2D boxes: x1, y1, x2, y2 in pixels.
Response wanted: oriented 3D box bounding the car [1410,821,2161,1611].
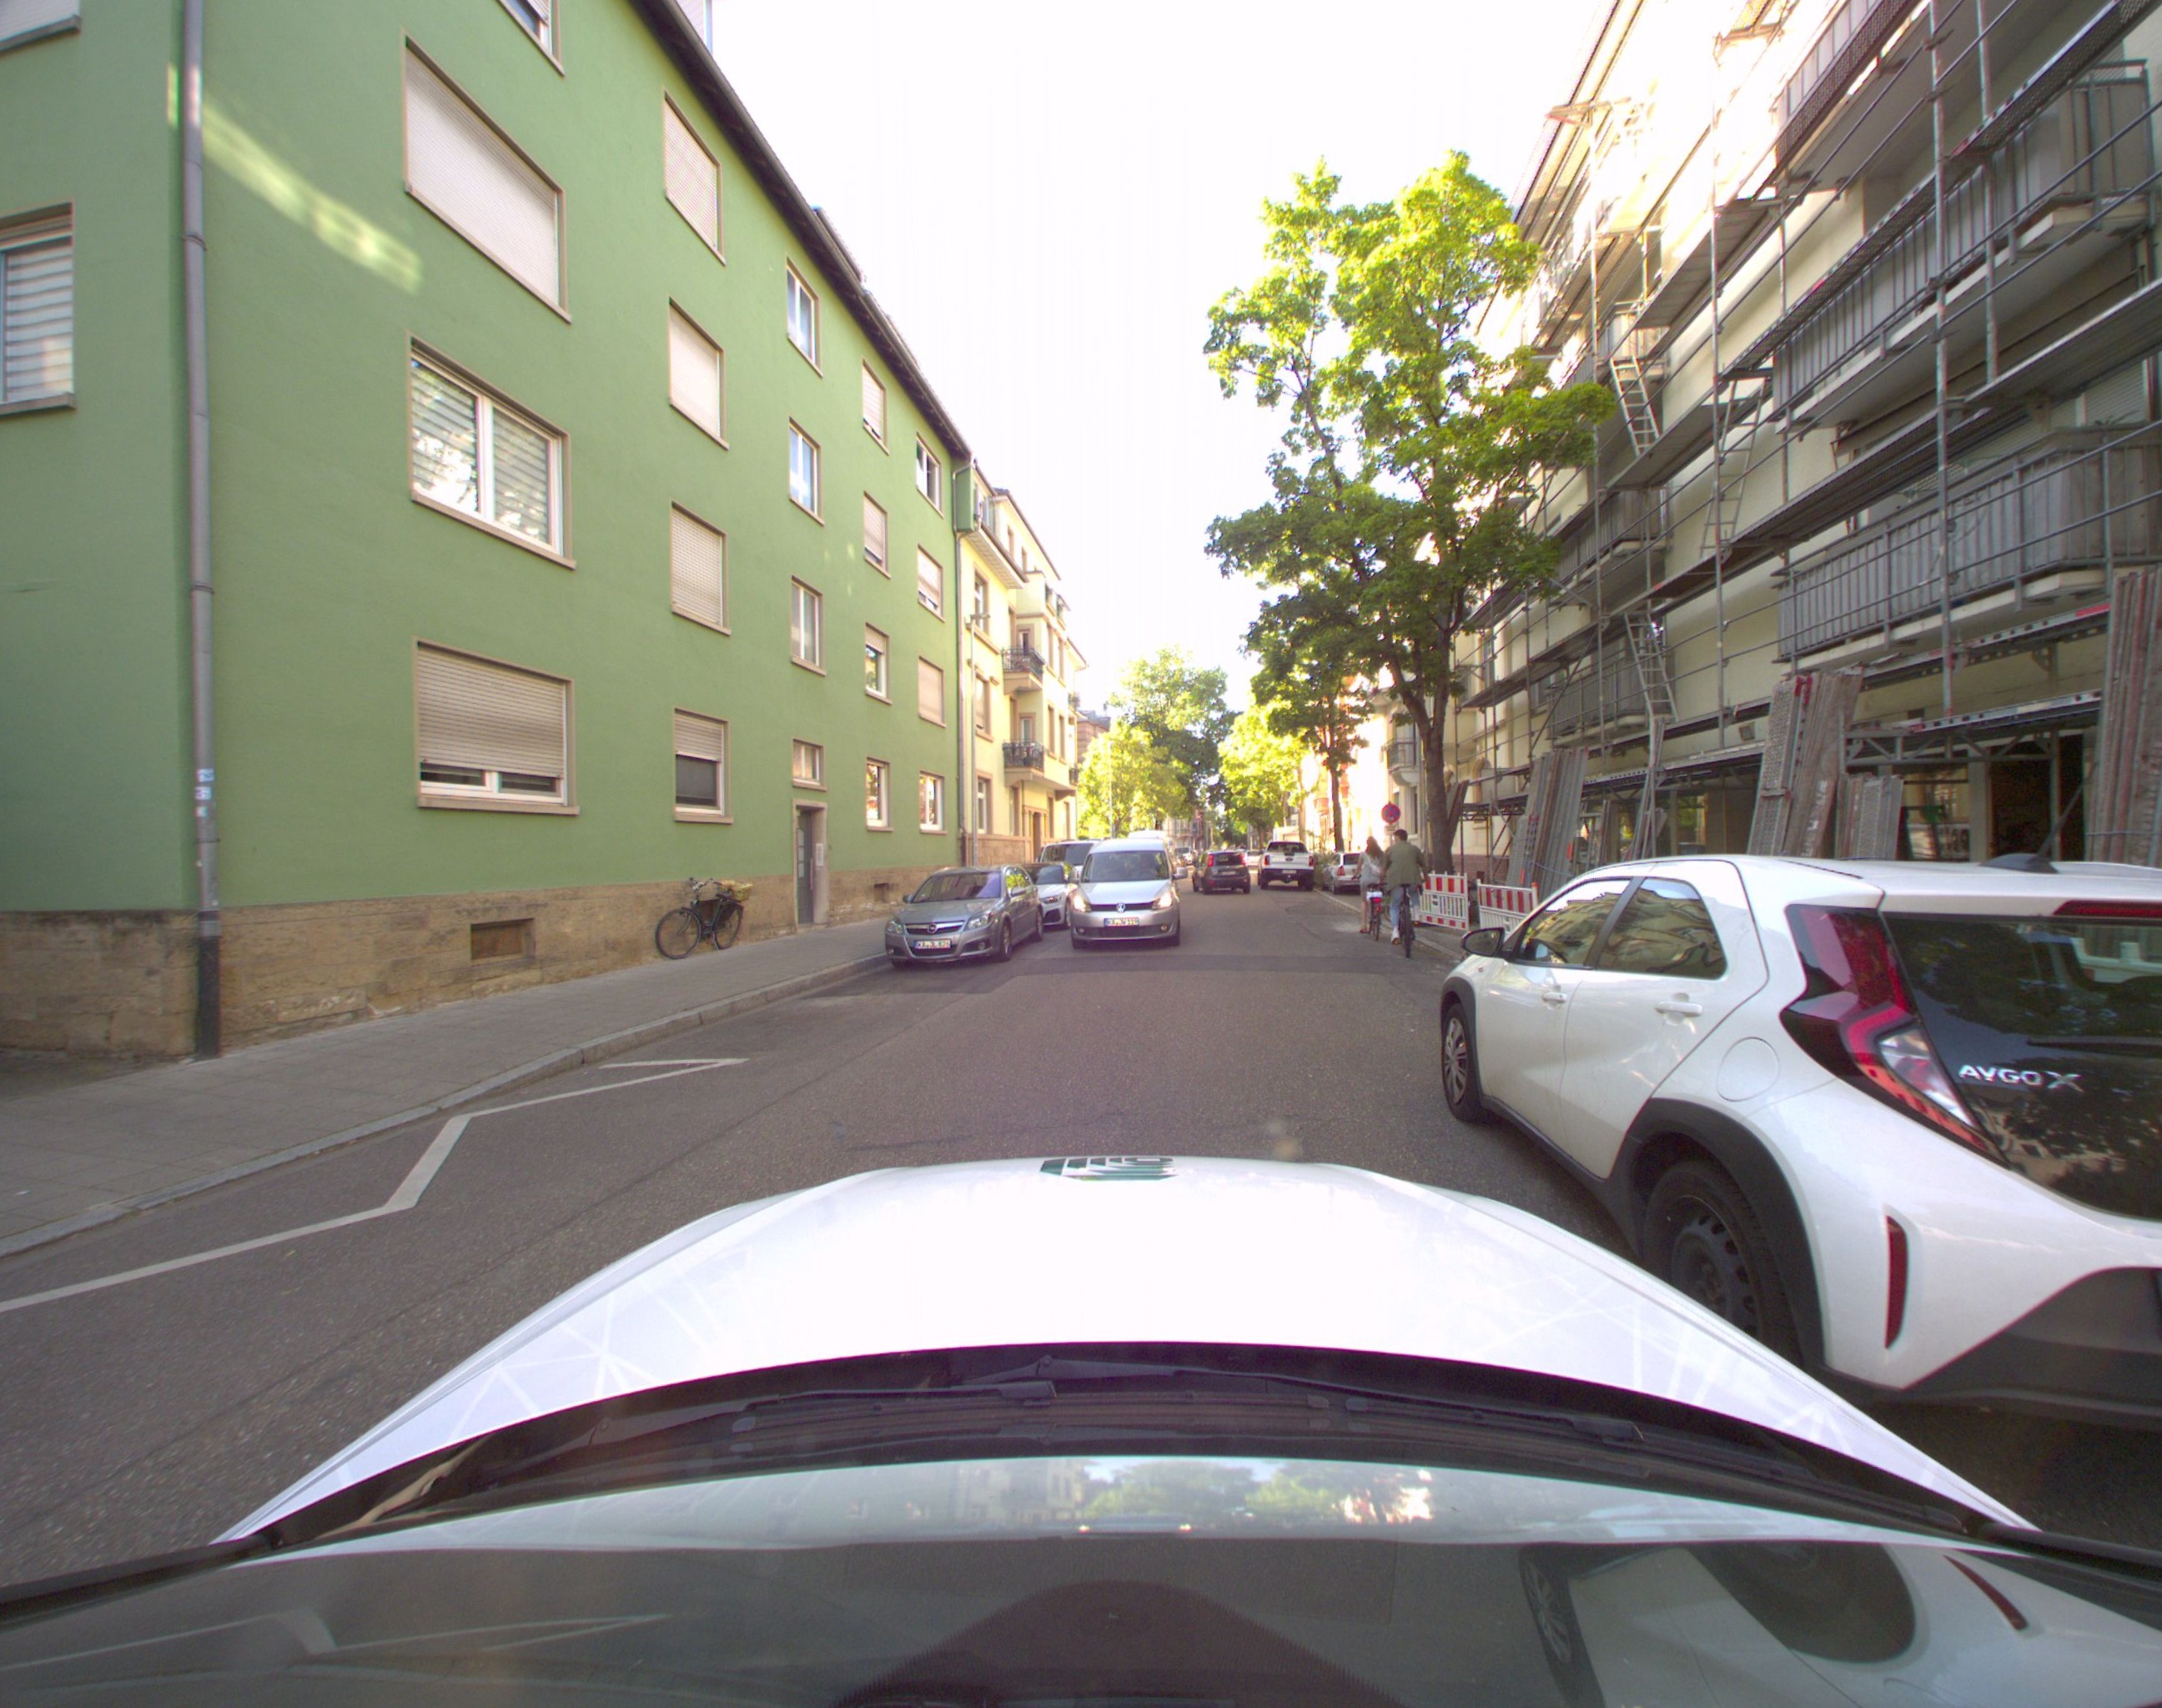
[{"bbox_3d":[2.743,0.687,3.481,1.790,1.535,3.977,0,0,12],"label":"car"}]
